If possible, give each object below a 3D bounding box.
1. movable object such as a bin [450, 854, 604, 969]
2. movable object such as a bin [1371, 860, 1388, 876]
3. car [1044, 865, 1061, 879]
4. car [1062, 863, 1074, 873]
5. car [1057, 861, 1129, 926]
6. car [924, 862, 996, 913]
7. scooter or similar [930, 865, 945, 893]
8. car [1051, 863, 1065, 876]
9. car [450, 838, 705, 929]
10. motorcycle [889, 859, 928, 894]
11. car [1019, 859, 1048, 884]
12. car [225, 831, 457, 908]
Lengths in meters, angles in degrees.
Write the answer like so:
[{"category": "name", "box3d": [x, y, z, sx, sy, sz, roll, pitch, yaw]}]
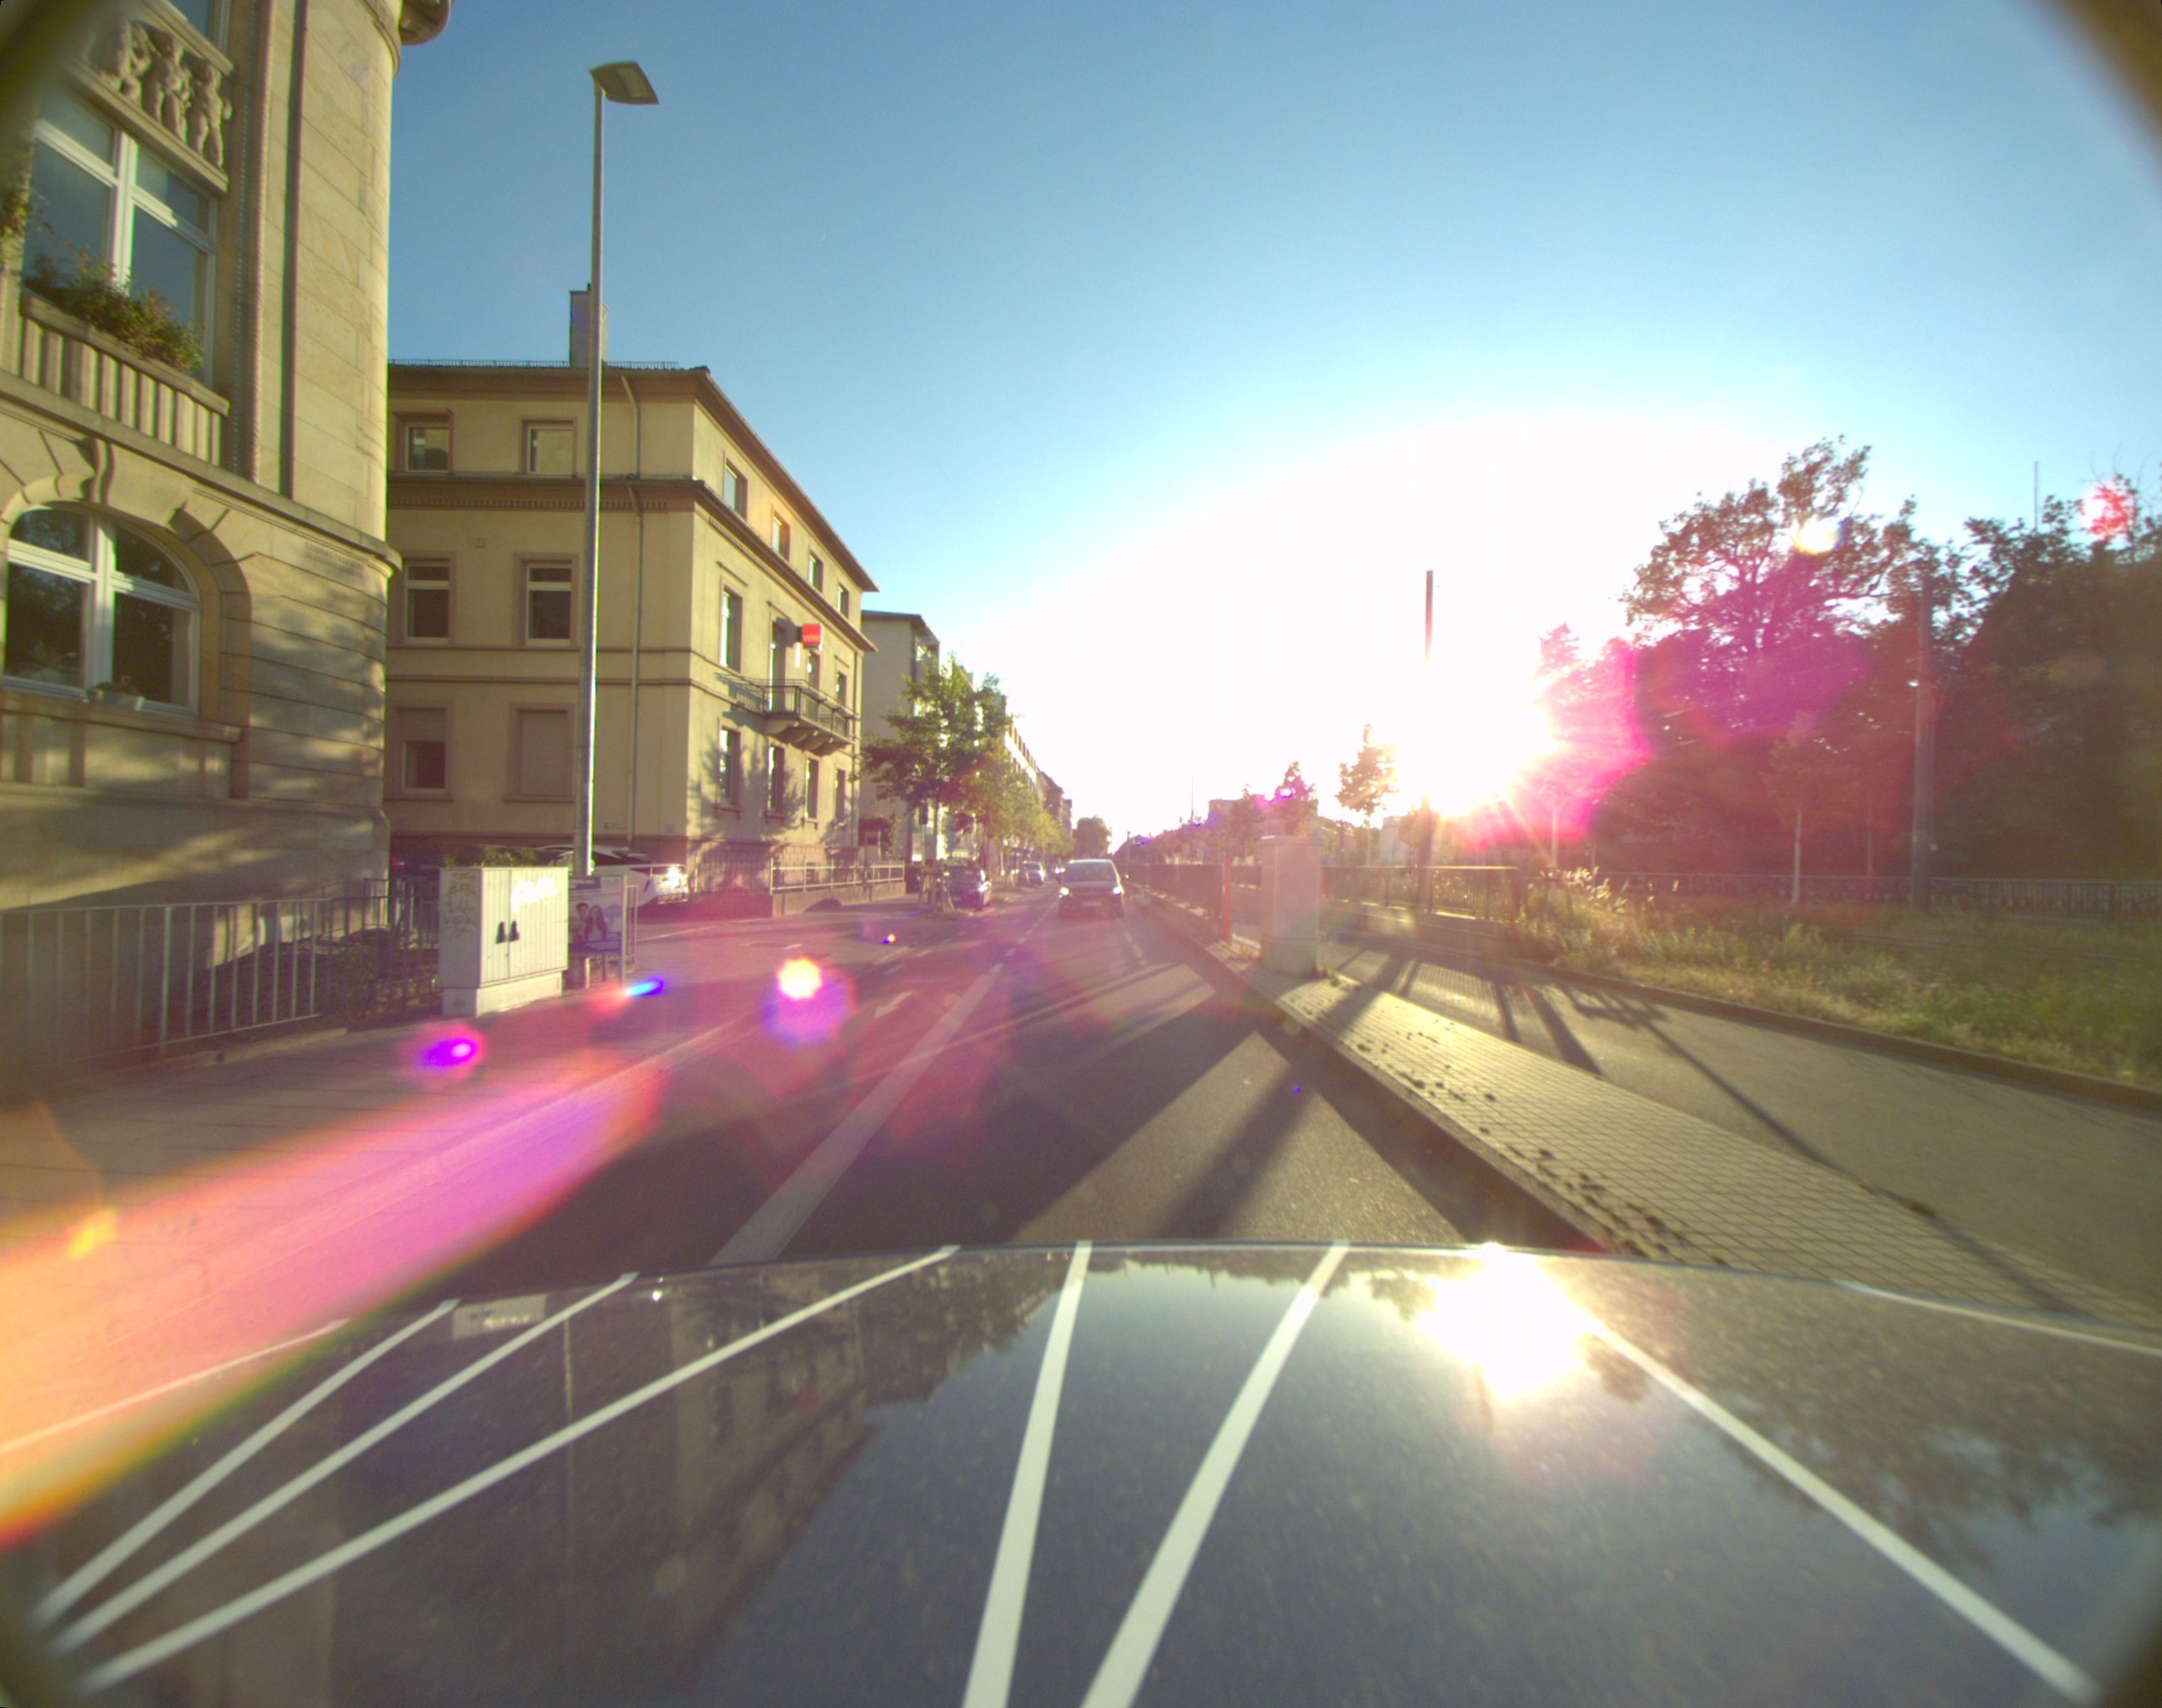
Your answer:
[{"category": "movable object such as a bin", "box3d": [-7.412, 0.741, 10.245, 1.263, 1.453, 1.123, 0, 0, -2]}, {"category": "movable object such as a bin", "box3d": [49.846, 2.335, 126.910, 1.996, 2.690, 4.005, 0, 0, 14]}, {"category": "car", "box3d": [-3.197, 2.031, 84.408, 1.824, 1.446, 4.127, 2, -1, -3]}, {"category": "car", "box3d": [-2.204, 2.329, 127.400, 1.761, 1.644, 4.529, 3, -1, 1]}, {"category": "car", "box3d": [0.311, 1.028, 21.459, 1.800, 1.609, 4.387, -1, 0, 0]}, {"category": "car", "box3d": [-3.980, 1.061, 25.748, 1.797, 1.462, 4.445, 3, -1, -2]}, {"category": "scooter or similar", "box3d": [-6.468, 1.121, 34.329, 0.492, 1.251, 1.208, -1, 0, -3]}, {"category": "car", "box3d": [-2.856, 1.925, 94.723, 1.688, 1.446, 4.130, 2, -1, 0]}, {"category": "car", "box3d": [-10.778, 0.604, 16.464, 4.204, 1.561, 1.917, 4, 0, 3]}, {"category": "motorcycle", "box3d": [-7.453, 0.977, 32.905, 1.500, 1.404, 0.626, 3, -2, -3]}, {"category": "car", "box3d": [-3.382, 1.264, 54.974, 1.859, 1.696, 4.254, 2, -1, -1]}, {"category": "car", "box3d": [-15.891, 0.329, 16.421, 3.557, 1.475, 1.498, 2, 0, 1]}]
